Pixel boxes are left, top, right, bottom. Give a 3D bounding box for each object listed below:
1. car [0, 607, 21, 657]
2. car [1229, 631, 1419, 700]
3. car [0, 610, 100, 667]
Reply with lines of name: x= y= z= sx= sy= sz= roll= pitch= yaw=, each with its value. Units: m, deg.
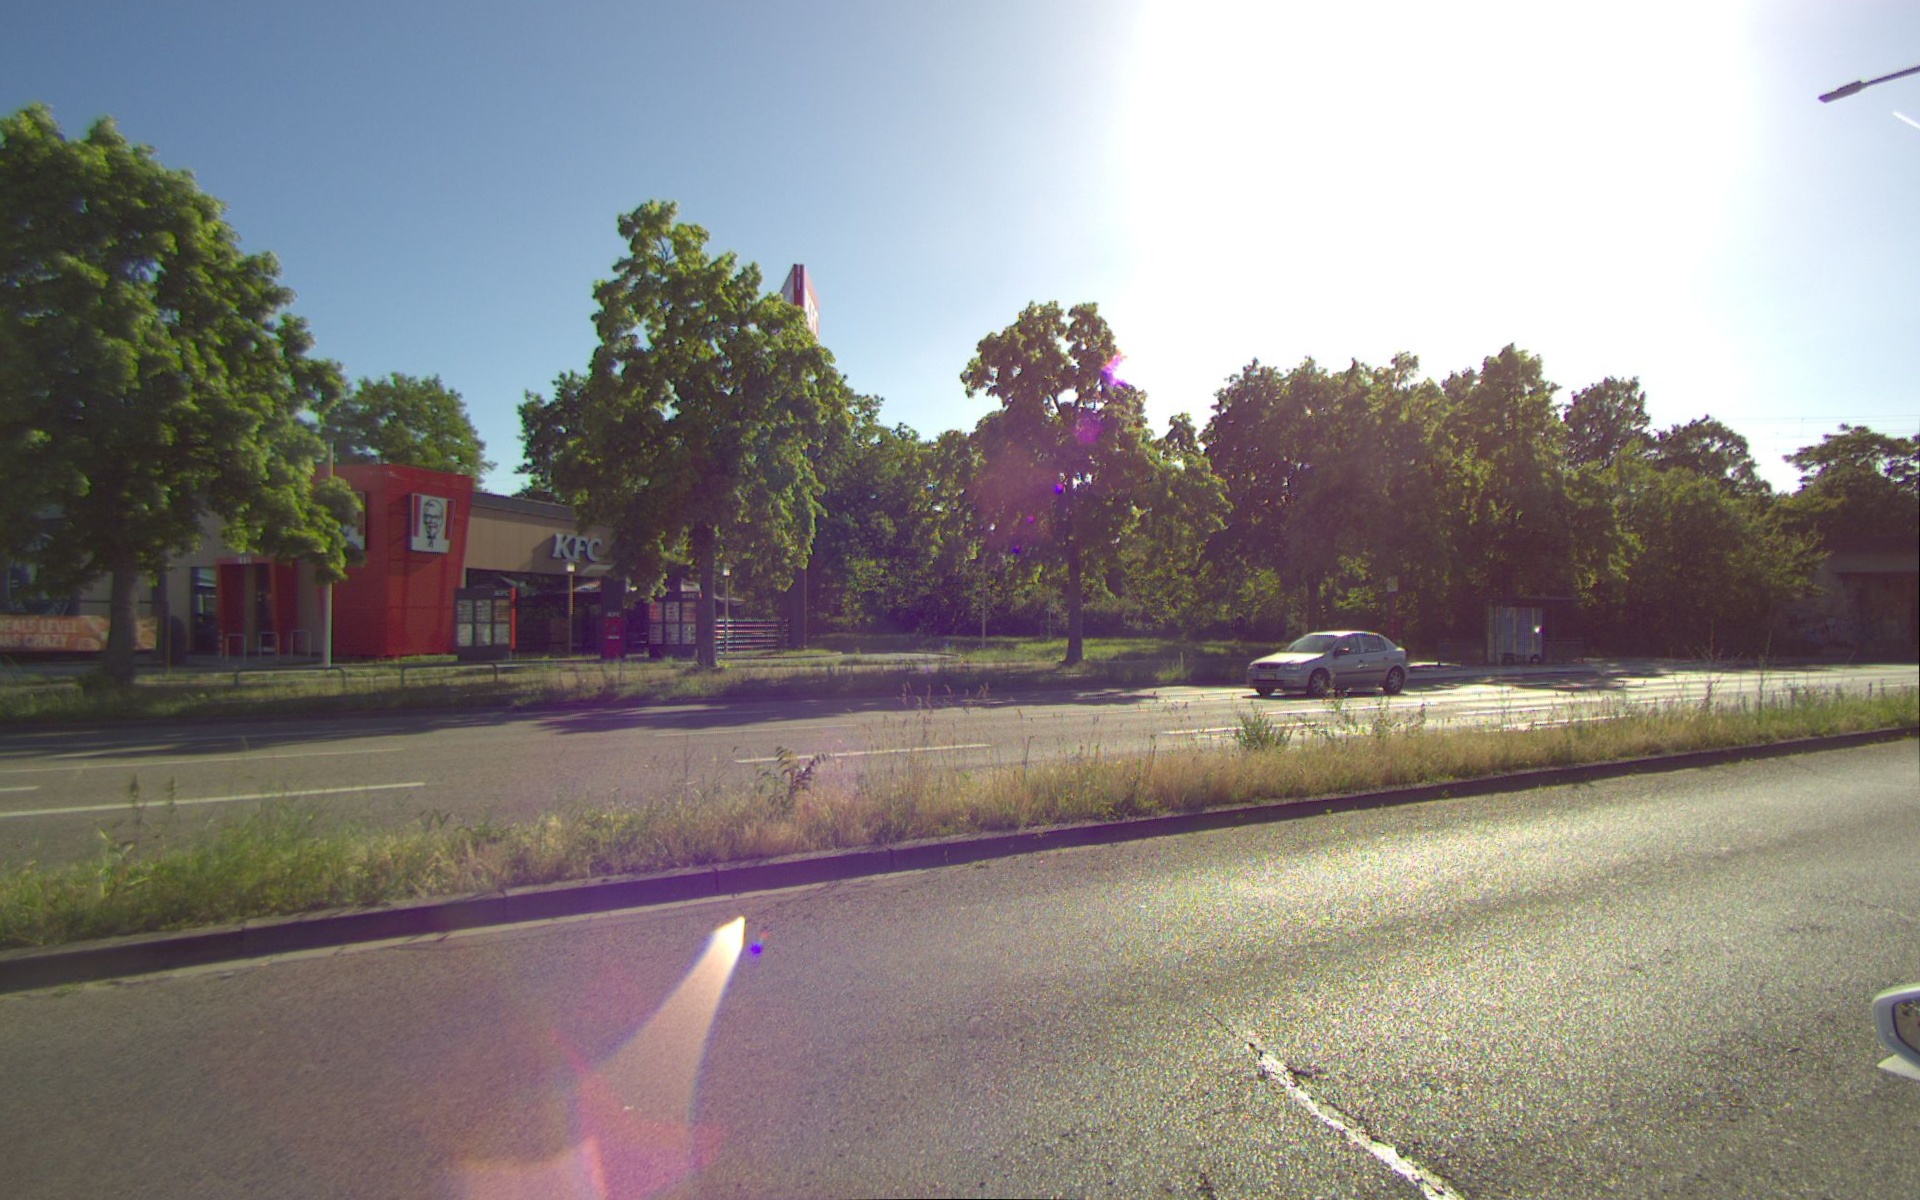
car: x=-35.069 y=1.110 z=34.280 sx=1.845 sy=1.771 sz=4.002 roll=0 pitch=-1 yaw=15
car: x=8.304 y=1.441 z=22.836 sx=4.088 sy=1.435 sz=1.909 roll=1 pitch=-3 yaw=-30
car: x=-29.629 y=1.170 z=31.089 sx=1.857 sy=1.684 sz=4.243 roll=1 pitch=0 yaw=17
